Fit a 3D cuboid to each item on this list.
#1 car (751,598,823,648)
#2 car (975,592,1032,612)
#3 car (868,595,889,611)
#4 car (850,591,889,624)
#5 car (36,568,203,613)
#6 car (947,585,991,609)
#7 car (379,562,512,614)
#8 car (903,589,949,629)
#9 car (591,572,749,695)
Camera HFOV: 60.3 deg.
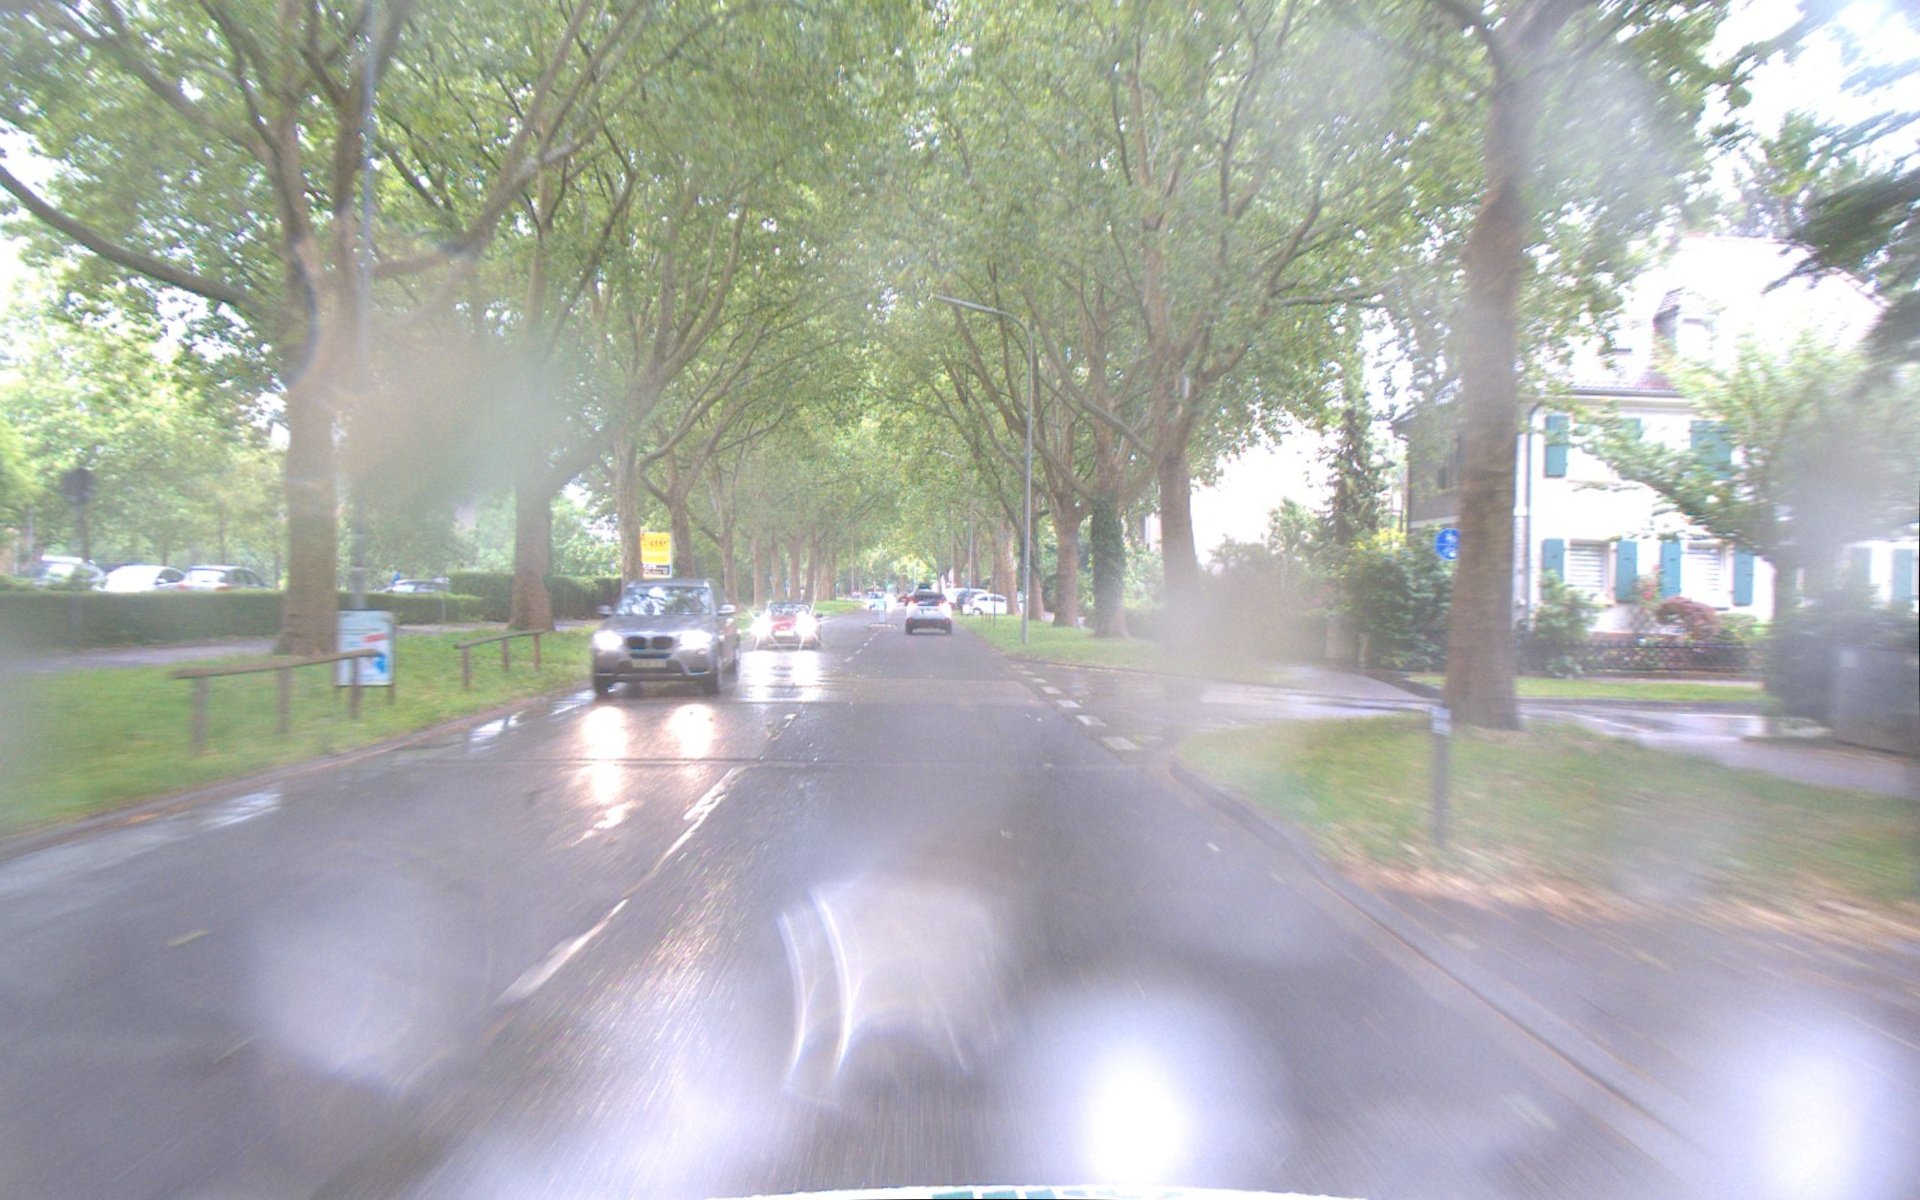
[{"bbox_3d":[-4.678,0.611,45.136,1.671,1.272,3.643,0,0,-2],"label":"car"},{"bbox_3d":[2.767,0.126,104.888,3.477,1.175,1.710,0,0,-4],"label":"car"},{"bbox_3d":[-7.277,0.280,147.388,1.685,1.276,3.999,2,0,-1],"label":"car"},{"bbox_3d":[-4.094,0.305,75.128,1.671,1.436,3.643,0,0,-2],"label":"car"},{"bbox_3d":[-25.114,-0.282,49.514,3.907,1.154,1.999,3,0,-2],"label":"car"},{"bbox_3d":[0.695,-0.245,132.640,3.476,1.873,1.710,0,0,-3],"label":"car"},{"bbox_3d":[-17.578,-0.414,56.629,3.906,1.651,2.000,2,0,-1],"label":"car"},{"bbox_3d":[-1.294,0.319,62.820,1.671,1.436,3.643,0,0,-2],"label":"car"},{"bbox_3d":[-4.339,0.447,25.356,1.773,1.713,4.446,0,0,-2],"label":"car"}]
